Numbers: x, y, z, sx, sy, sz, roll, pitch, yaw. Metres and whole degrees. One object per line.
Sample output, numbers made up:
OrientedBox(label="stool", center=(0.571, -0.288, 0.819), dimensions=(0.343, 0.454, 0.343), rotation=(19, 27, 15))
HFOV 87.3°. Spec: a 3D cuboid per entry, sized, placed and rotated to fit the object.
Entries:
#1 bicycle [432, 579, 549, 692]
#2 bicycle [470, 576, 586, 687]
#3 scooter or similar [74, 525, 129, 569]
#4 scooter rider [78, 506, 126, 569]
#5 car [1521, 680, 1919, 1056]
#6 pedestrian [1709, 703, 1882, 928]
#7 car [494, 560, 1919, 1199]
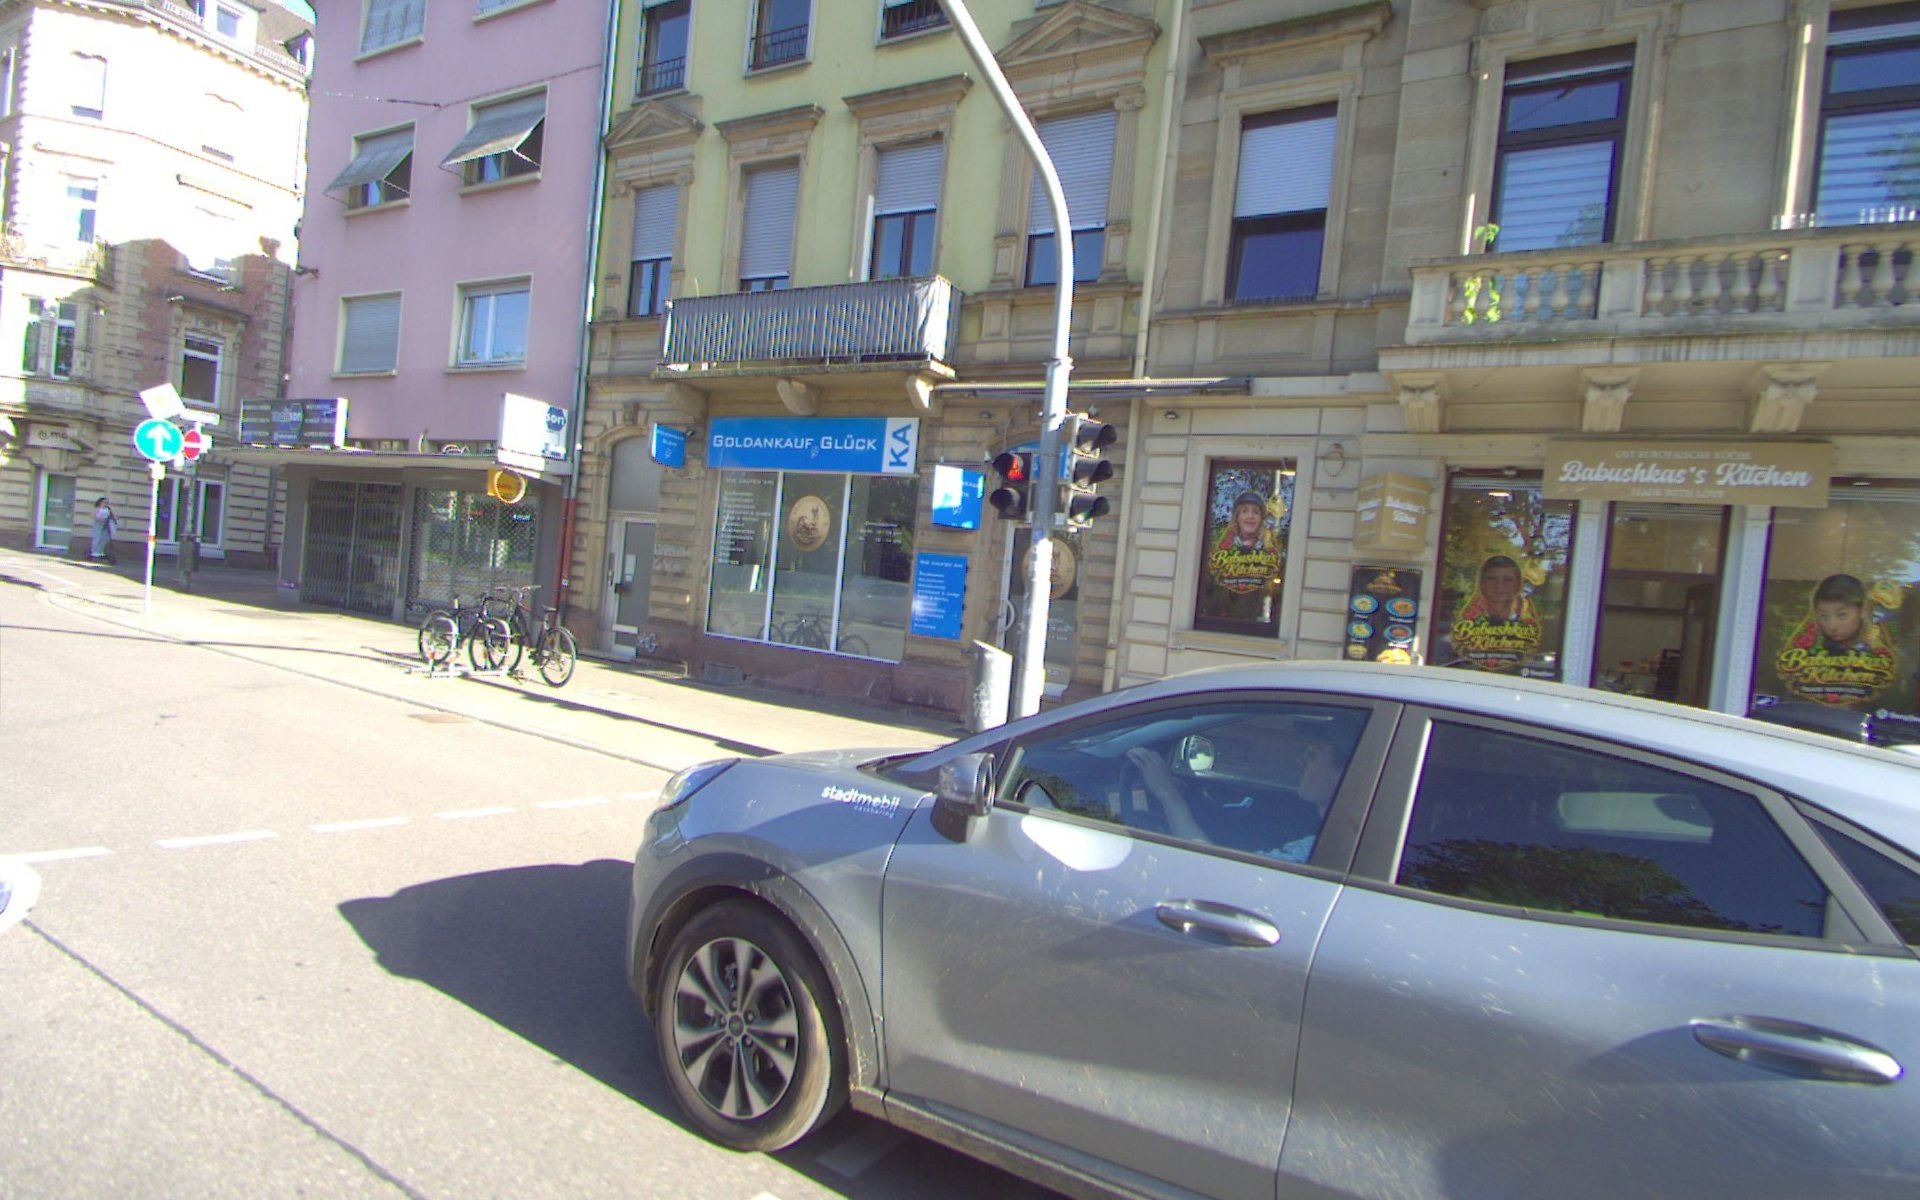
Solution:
OrientedBox(label="bicycle", center=(-5.650, 0.403, 12.063), dimensions=(1.782, 1.155, 0.413), rotation=(6, 0, 38))
OrientedBox(label="bicycle", center=(-5.380, 0.376, 12.487), dimensions=(1.731, 1.174, 0.448), rotation=(7, 1, 38))
OrientedBox(label="scooter or similar", center=(-22.459, -1.389, 26.316), dimensions=(1.259, 1.000, 0.338), rotation=(6, 1, 11))
OrientedBox(label="scooter rider", center=(-22.447, -1.633, 26.329), dimensions=(0.795, 1.524, 0.467), rotation=(6, 1, 12))
OrientedBox(label="car", center=(5.197, 1.434, 5.101), dimensions=(3.937, 1.435, 1.562), rotation=(6, 4, 32))
OrientedBox(label="pedestrian", center=(6.283, 1.575, 7.635), dimensions=(0.644, 1.392, 1.014), rotation=(6, 5, 26))
OrientedBox(label="car", center=(0.956, 0.916, 2.682), dimensions=(4.306, 1.546, 1.700), rotation=(6, -1, 30))
